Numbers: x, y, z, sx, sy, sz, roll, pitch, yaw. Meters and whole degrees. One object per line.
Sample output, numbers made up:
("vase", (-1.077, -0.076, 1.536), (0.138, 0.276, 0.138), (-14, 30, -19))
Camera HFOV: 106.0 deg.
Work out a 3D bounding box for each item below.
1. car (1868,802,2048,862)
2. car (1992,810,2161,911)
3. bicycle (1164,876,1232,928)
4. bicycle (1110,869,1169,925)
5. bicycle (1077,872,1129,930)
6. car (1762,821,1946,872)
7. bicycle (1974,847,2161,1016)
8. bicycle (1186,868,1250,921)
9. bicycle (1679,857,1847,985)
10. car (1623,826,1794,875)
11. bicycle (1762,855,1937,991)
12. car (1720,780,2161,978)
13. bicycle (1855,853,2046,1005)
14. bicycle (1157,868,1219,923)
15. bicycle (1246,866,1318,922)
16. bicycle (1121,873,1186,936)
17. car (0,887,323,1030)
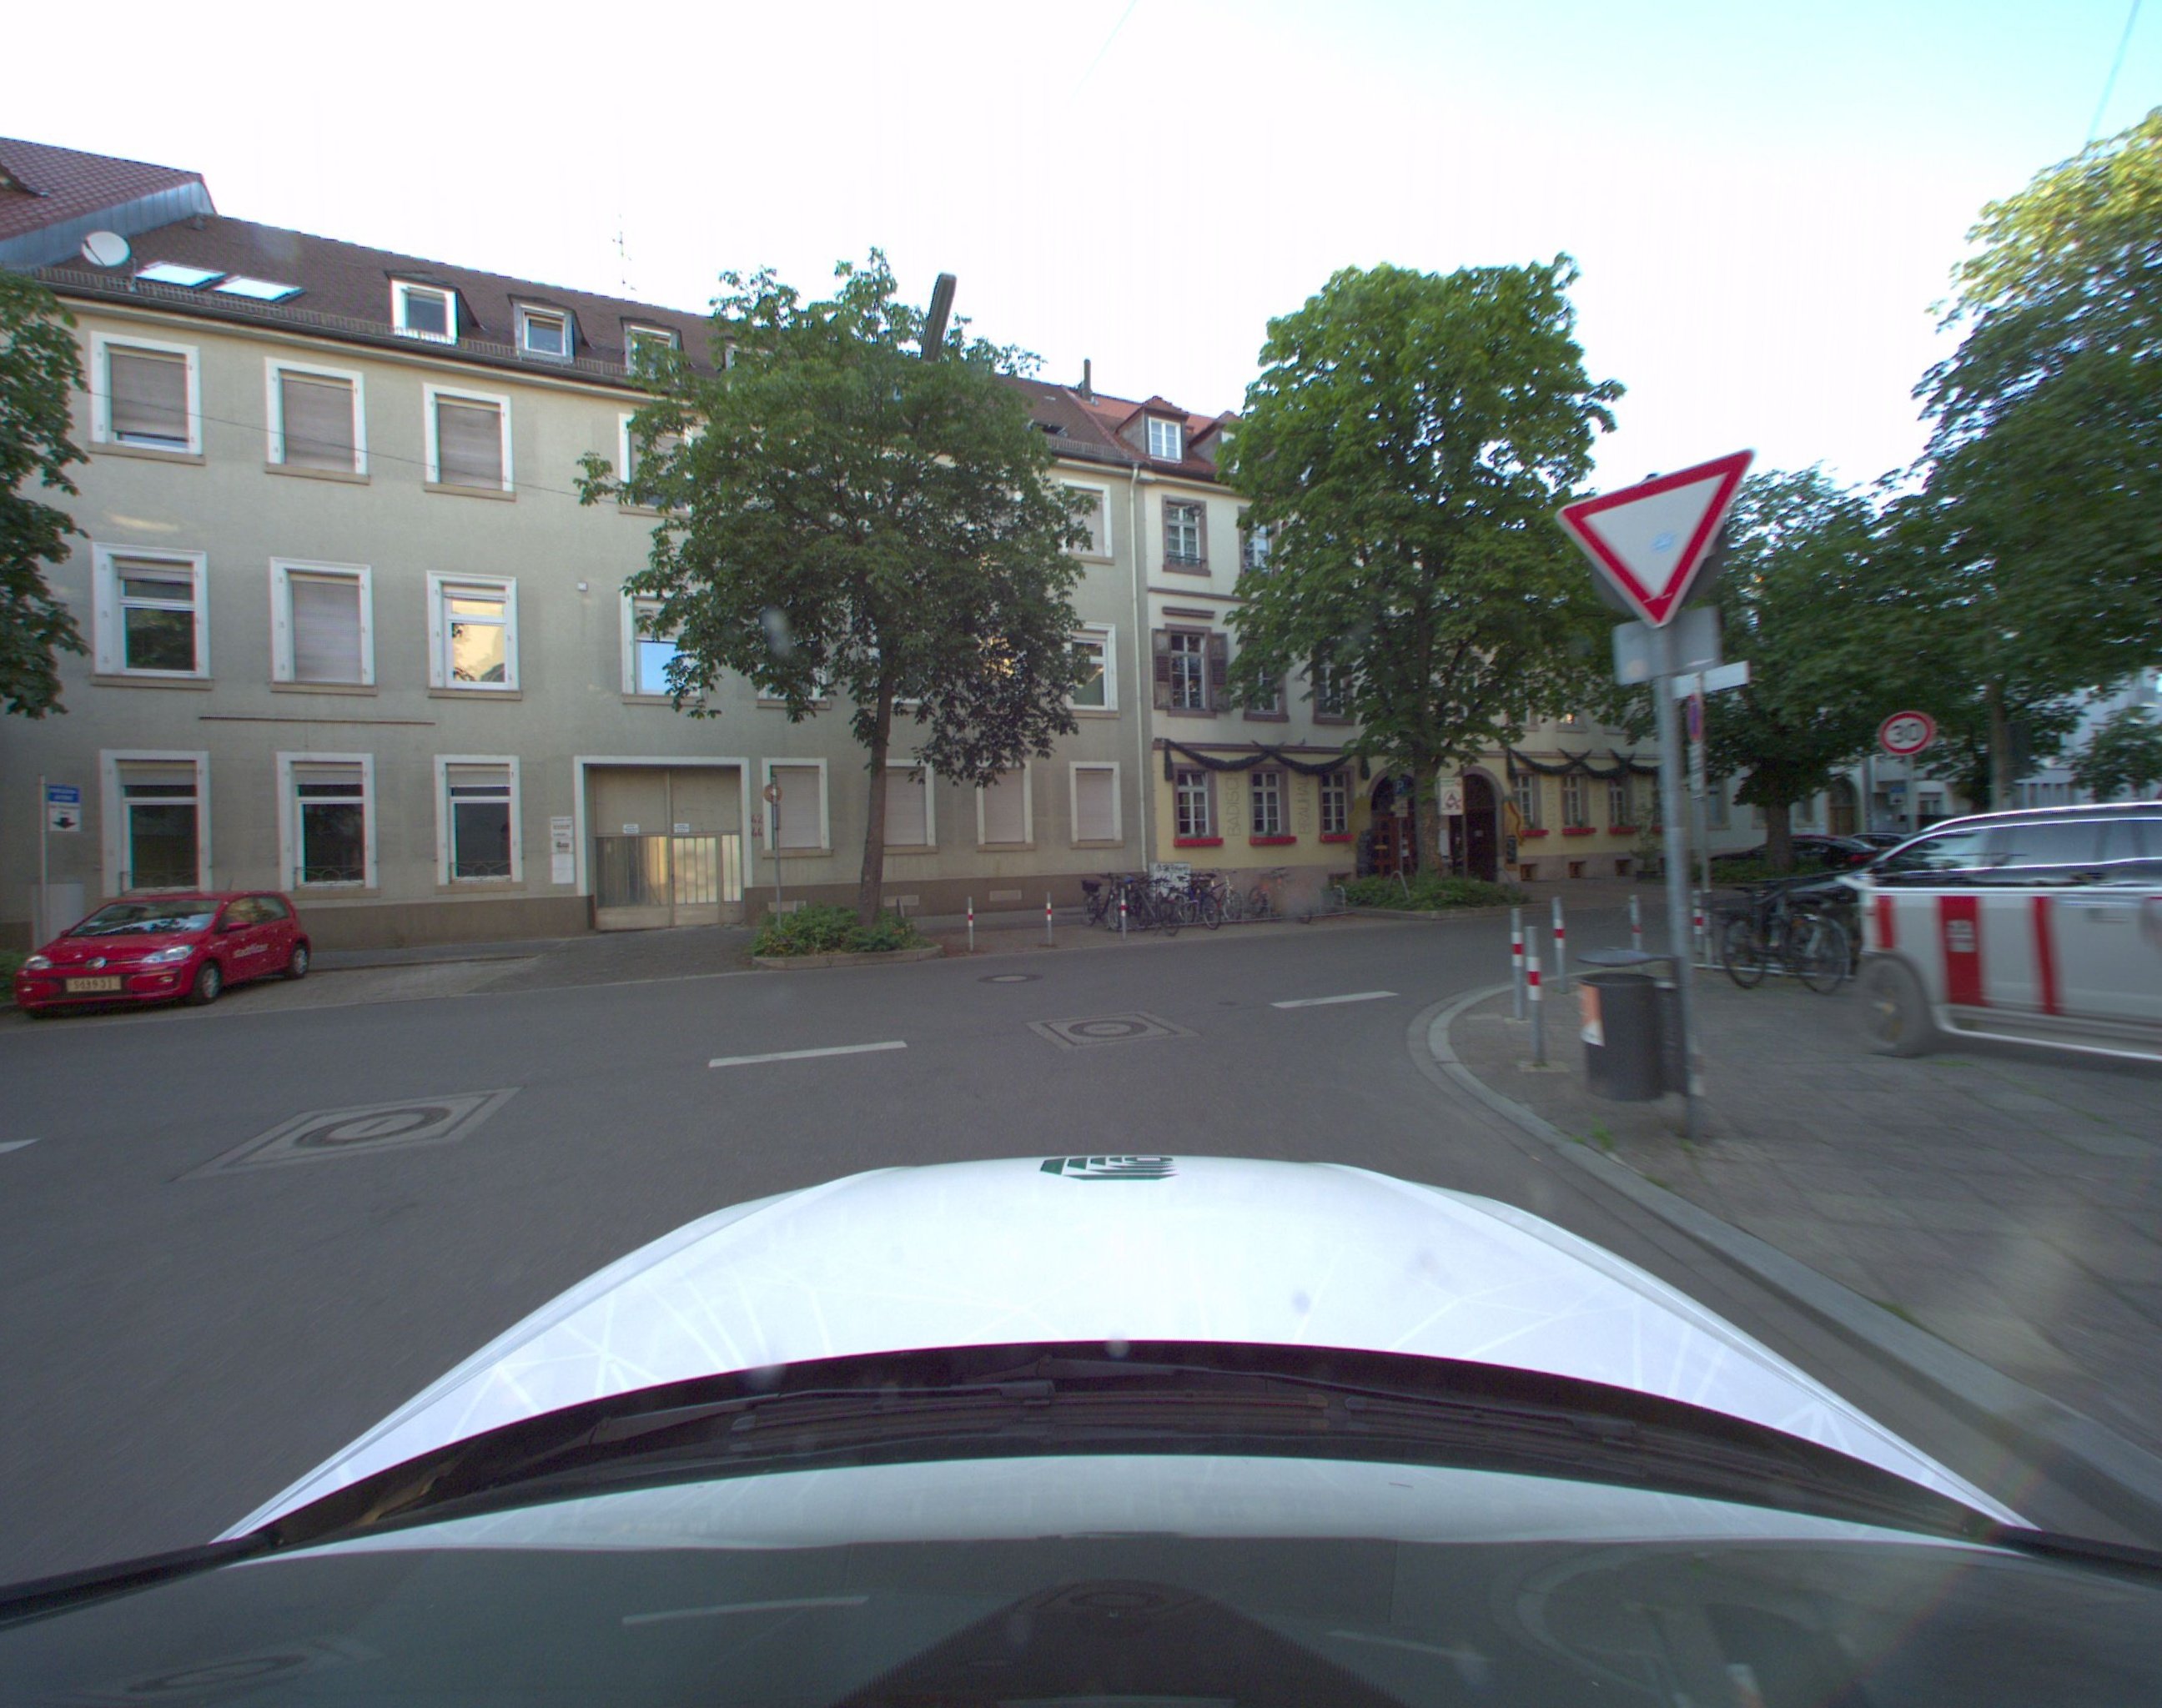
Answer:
("car", (34.119, -0.812, 31.866), (1.777, 2.123, 4.416), (-2, 0, -20))
("car", (16.802, 0.061, 11.816), (1.777, 1.487, 4.416), (-2, 0, -20))
("bicycle", (2.420, 0.971, 17.054), (0.422, 1.004, 2.027), (-2, 0, -21))
("bicycle", (1.257, 0.911, 17.967), (0.422, 1.145, 2.027), (-2, 0, -21))
("bicycle", (0.444, 0.981, 17.573), (0.446, 1.145, 2.030), (-2, 0, -17))
("car", (27.360, -0.221, 29.052), (1.777, 1.613, 4.416), (-2, 0, -20))
("bicycle", (7.610, 0.545, 6.209), (1.871, 1.089, 0.362), (-3, -2, -21))
("bicycle", (3.099, 0.896, 18.663), (0.422, 1.145, 2.027), (-2, 0, -21))
("bicycle", (6.840, 0.639, 8.150), (1.871, 1.089, 0.362), (-3, -2, -21))
("car", (21.562, -0.083, 28.230), (1.777, 1.505, 4.416), (-2, 0, -20))
("bicycle", (7.256, 0.616, 7.672), (1.871, 1.089, 0.362), (-3, -2, -21))
("car", (9.907, 0.231, 8.672), (1.777, 1.738, 4.561), (-3, -2, -20))
("bicycle", (7.368, 0.592, 6.886), (1.871, 1.089, 0.362), (-3, -2, -21))
("bicycle", (2.389, 0.907, 18.470), (0.422, 1.145, 2.027), (-2, 0, -21))
("bicycle", (4.434, 0.861, 18.118), (0.422, 1.145, 2.027), (-2, 0, -21))
("bicycle", (1.404, 0.965, 16.242), (0.446, 1.145, 2.028), (-2, 0, -20))
("car", (-12.650, 1.308, 11.536), (1.567, 1.475, 3.640), (-2, 0, -23))
